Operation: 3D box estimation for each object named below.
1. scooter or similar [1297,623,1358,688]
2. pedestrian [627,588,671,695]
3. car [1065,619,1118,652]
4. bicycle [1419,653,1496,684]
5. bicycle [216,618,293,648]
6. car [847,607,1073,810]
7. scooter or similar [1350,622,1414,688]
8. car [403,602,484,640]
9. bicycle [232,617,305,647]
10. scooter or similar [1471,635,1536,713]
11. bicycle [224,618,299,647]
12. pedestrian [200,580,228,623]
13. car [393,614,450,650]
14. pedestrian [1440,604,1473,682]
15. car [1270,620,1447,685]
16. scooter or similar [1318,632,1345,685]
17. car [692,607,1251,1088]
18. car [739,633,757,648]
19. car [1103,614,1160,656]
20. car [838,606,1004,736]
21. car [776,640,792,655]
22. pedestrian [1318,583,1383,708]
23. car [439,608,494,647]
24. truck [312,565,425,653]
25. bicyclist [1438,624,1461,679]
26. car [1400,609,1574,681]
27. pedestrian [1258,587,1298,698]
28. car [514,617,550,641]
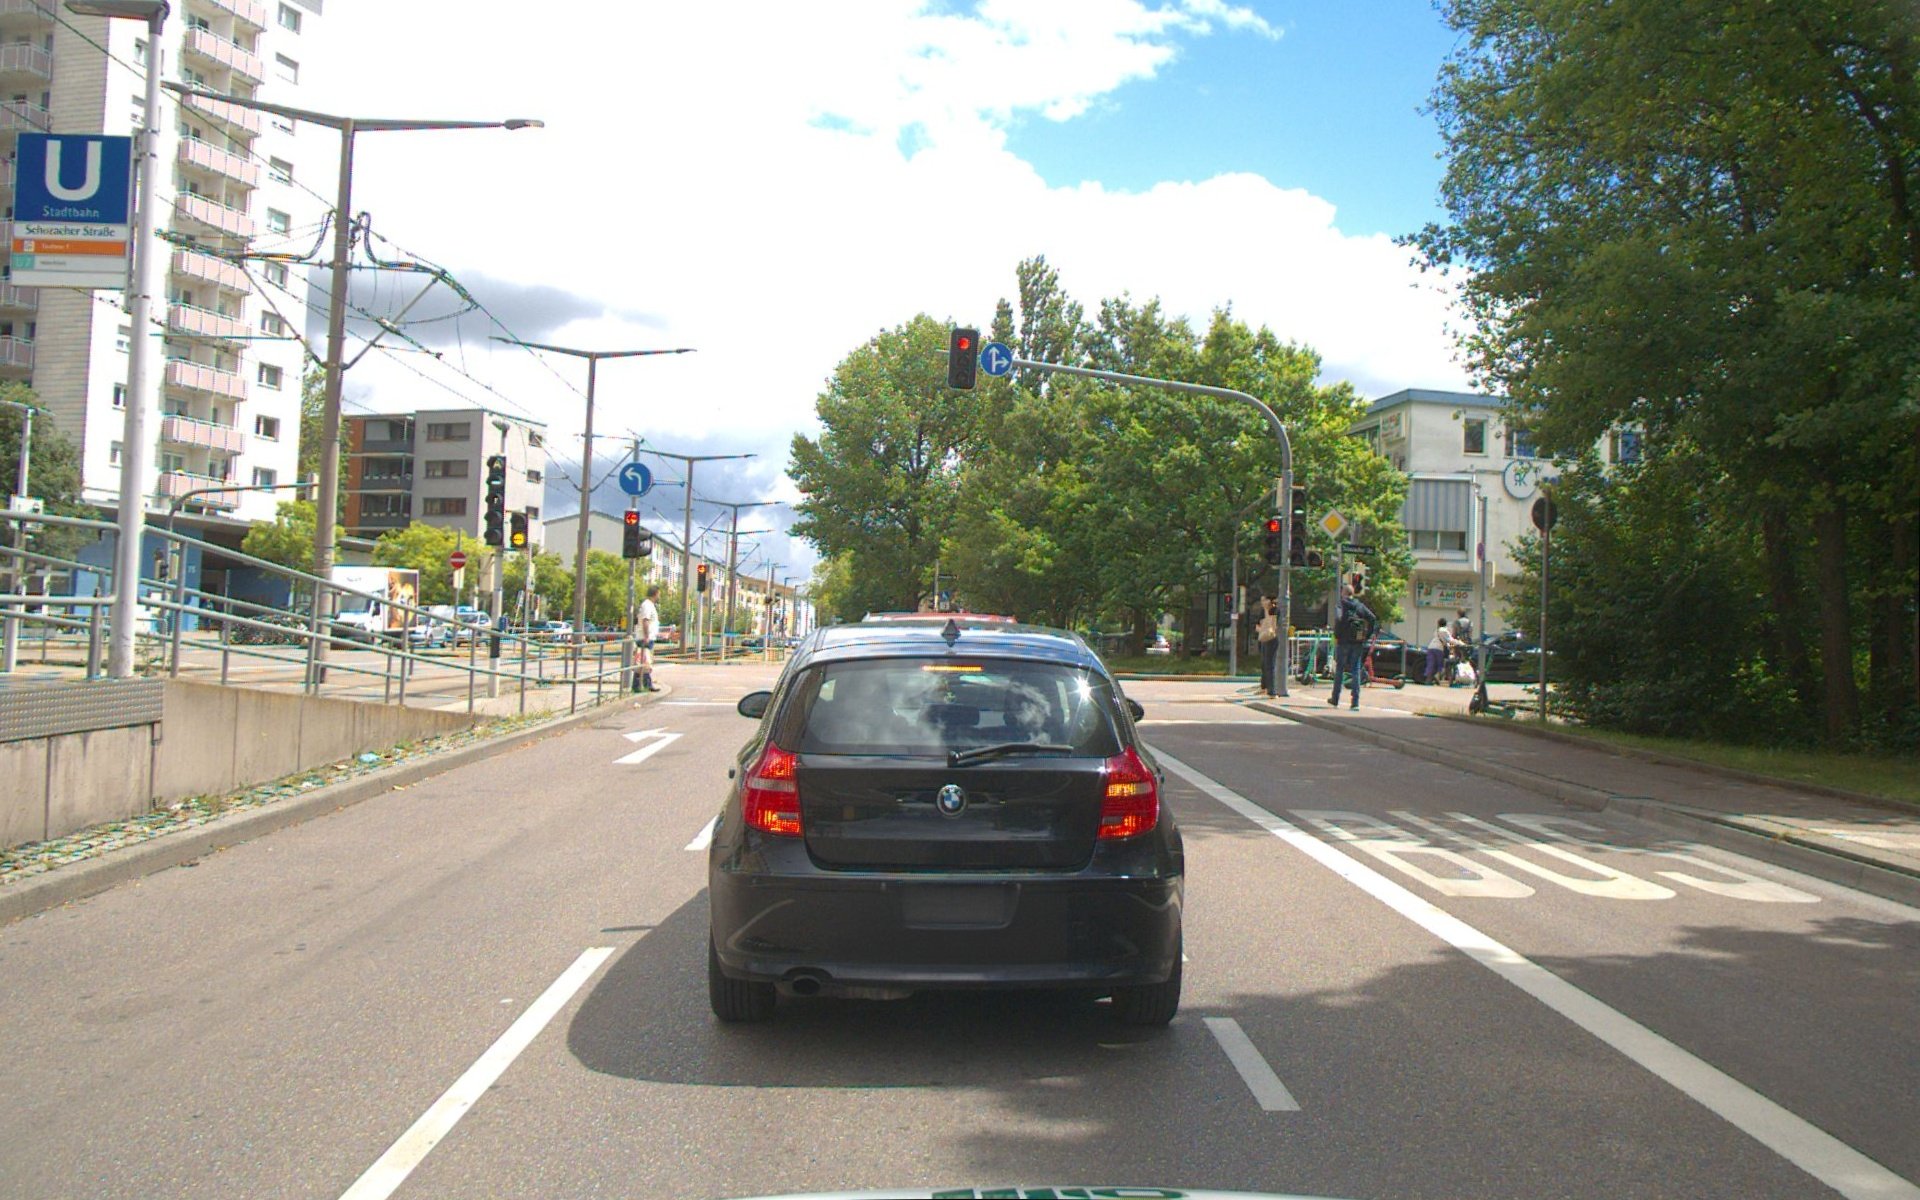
[{"bbox_3d":[7.334,1.099,33.044,1.087,1.257,0.539,1,-1,1],"label":"scooter or similar"},{"bbox_3d":[-5.186,0.684,27.543,0.675,1.764,0.685,1,-1,-13],"label":"pedestrian"},{"bbox_3d":[7.171,1.945,90.757,1.830,1.691,3.988,2,-1,-12],"label":"car"},{"bbox_3d":[10.840,1.493,36.079,1.551,0.620,0.535,1,-1,10],"label":"bicycle"},{"bbox_3d":[-26.334,1.229,61.756,2.528,1.026,0.748,3,-3,-29],"label":"bicycle"},{"bbox_3d":[-0.022,0.791,13.613,1.605,1.424,3.419,1,0,-1],"label":"car"},{"bbox_3d":[8.667,1.123,33.993,1.127,1.294,0.555,2,-1,1],"label":"scooter or similar"},{"bbox_3d":[-27.818,1.144,89.139,3.893,2.009,1.630,2,-1,-43],"label":"car"},{"bbox_3d":[-26.712,1.245,63.918,2.528,1.026,0.748,3,-3,-29],"label":"bicycle"},{"bbox_3d":[9.418,1.276,28.690,0.872,1.251,0.454,6,-1,-1],"label":"scooter or similar"},{"bbox_3d":[-26.540,1.243,62.820,2.528,1.026,0.748,3,-3,-29],"label":"bicycle"},{"bbox_3d":[-36.137,0.079,80.122,0.841,2.049,0.847,1,-1,17],"label":"pedestrian"},{"bbox_3d":[-23.565,1.394,72.440,1.379,1.486,3.772,2,-1,-3],"label":"car"},{"bbox_3d":[11.331,0.970,37.719,0.644,1.743,0.461,1,-1,25],"label":"pedestrian"},{"bbox_3d":[9.980,1.304,41.557,3.912,1.512,1.844,1,0,-8],"label":"car"},{"bbox_3d":[7.868,1.223,34.995,0.536,1.082,1.263,1,0,13],"label":"scooter or similar"},{"bbox_3d":[0.014,0.760,6.711,1.666,1.424,3.419,1,0,-1],"label":"car"},{"bbox_3d":[-21.984,4.184,171.775,1.759,1.434,3.995,1,0,-6],"label":"car"},{"bbox_3d":[8.242,1.673,79.852,1.694,1.904,3.991,2,-1,-9],"label":"car"},{"bbox_3d":[-0.480,0.818,21.075,1.862,1.447,4.538,1,0,-1],"label":"car"},{"bbox_3d":[-19.685,5.331,185.161,1.620,1.561,3.863,2,-1,-9],"label":"car"},{"bbox_3d":[6.066,0.698,25.756,0.779,1.909,1.013,1,-1,2],"label":"pedestrian"},{"bbox_3d":[-23.754,1.310,79.702,1.559,1.787,3.773,2,-1,-2],"label":"car"},{"bbox_3d":[-23.039,0.359,64.791,2.237,3.172,7.311,2,-1,-5],"label":"truck"},{"bbox_3d":[10.686,1.121,36.111,0.390,1.177,0.503,1,-1,9],"label":"bicyclist"},{"bbox_3d":[15.424,1.310,48.516,4.450,2.049,1.996,1,0,-9],"label":"car"},{"bbox_3d":[5.523,0.731,28.749,0.622,1.909,0.518,1,-1,8],"label":"pedestrian"},{"bbox_3d":[-28.815,1.943,111.442,1.559,1.500,3.773,2,-1,-2],"label":"car"}]
